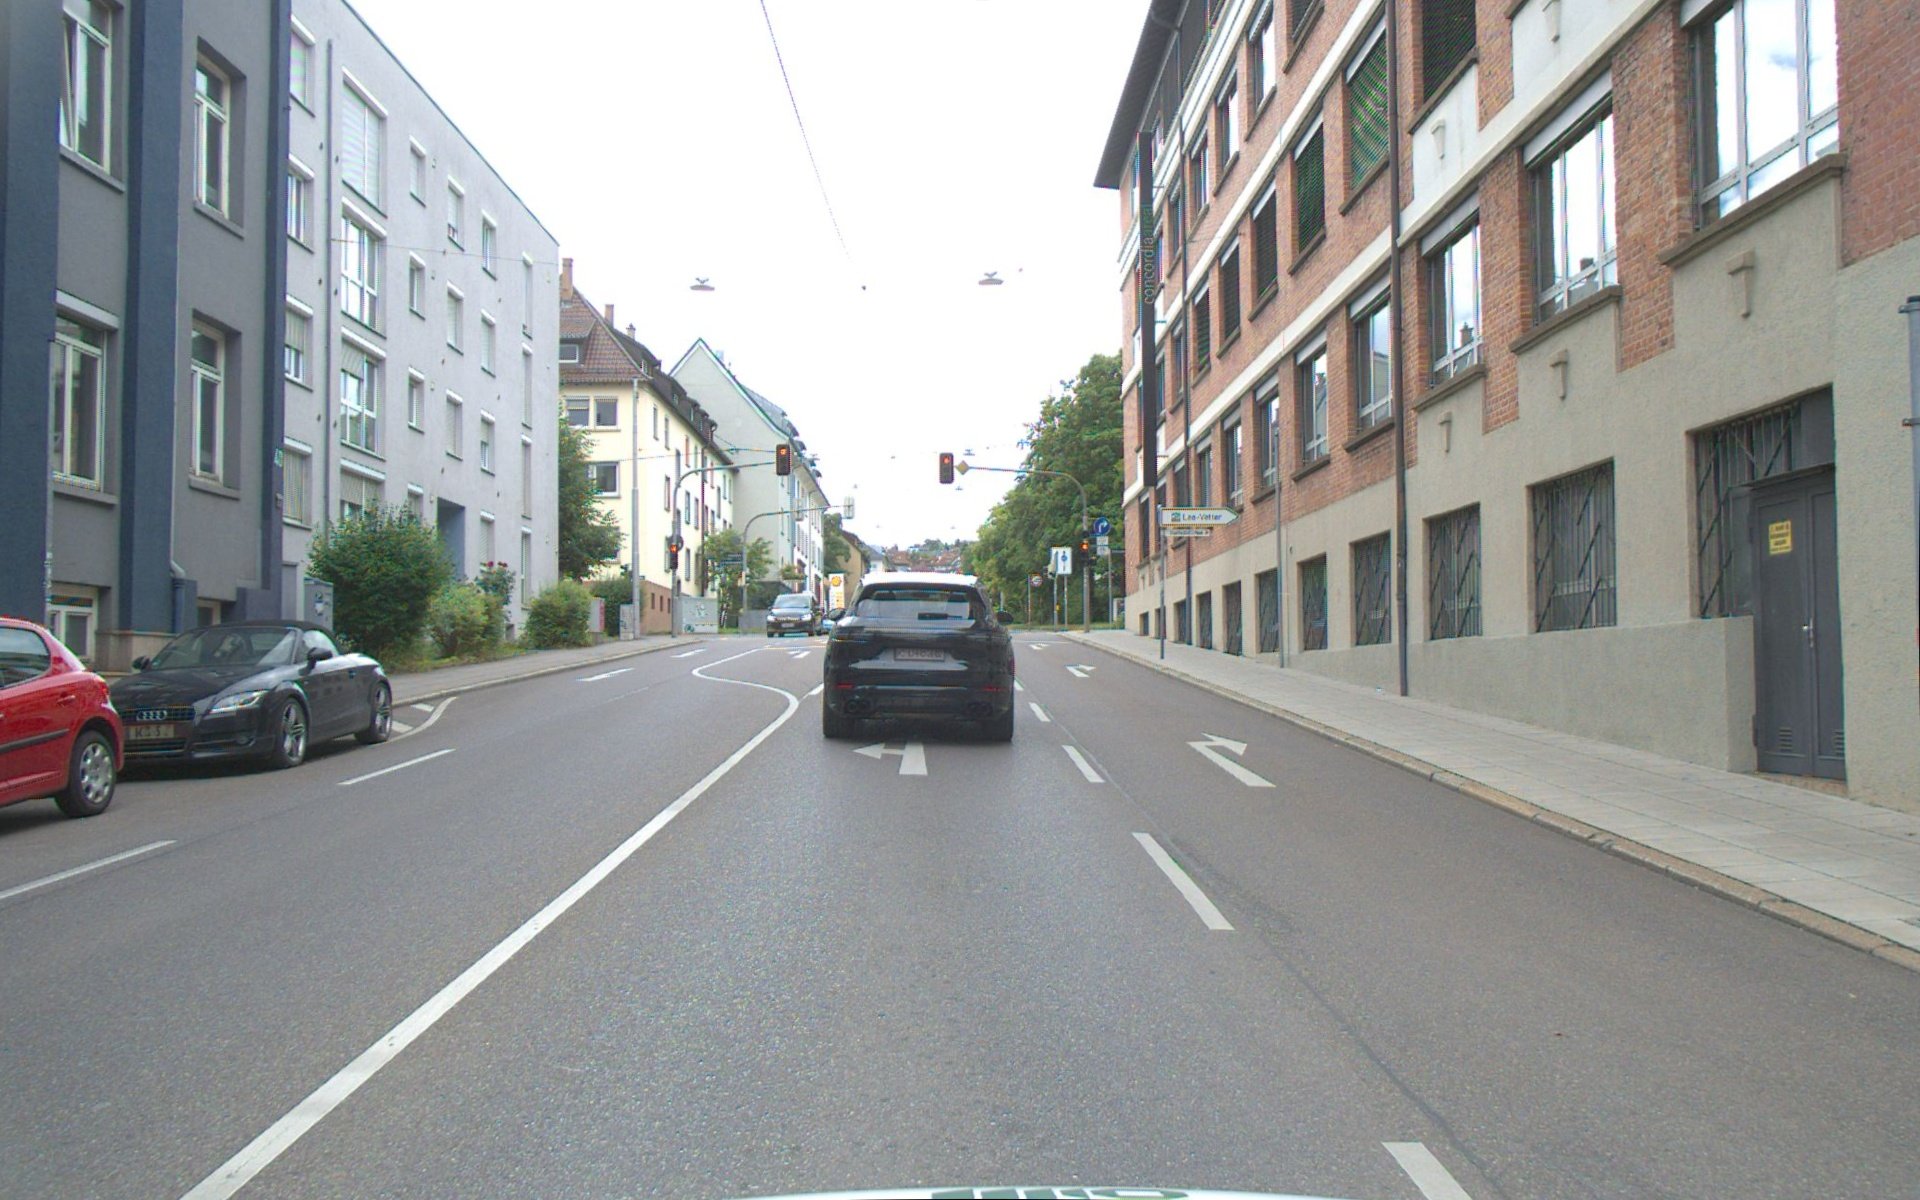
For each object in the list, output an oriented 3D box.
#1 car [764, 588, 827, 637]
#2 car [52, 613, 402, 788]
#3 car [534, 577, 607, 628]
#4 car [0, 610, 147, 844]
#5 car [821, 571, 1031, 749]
[{"bbox_3d":[-6.263,0.460,63.318,1.858,1.721,4.001,-3,0,1],"label":"car"},{"bbox_3d":[-6.959,0.880,16.174,1.679,1.364,3.903,-2,0,-1],"label":"car"},{"bbox_3d":[-14.291,0.070,60.857,1.807,1.721,3.998,-3,0,-2],"label":"car"},{"bbox_3d":[-7.060,0.872,10.571,1.679,1.482,3.989,-2,0,0],"label":"car"},{"bbox_3d":[-0.497,0.571,18.044,1.984,1.670,4.352,1,0,-5],"label":"car"}]
